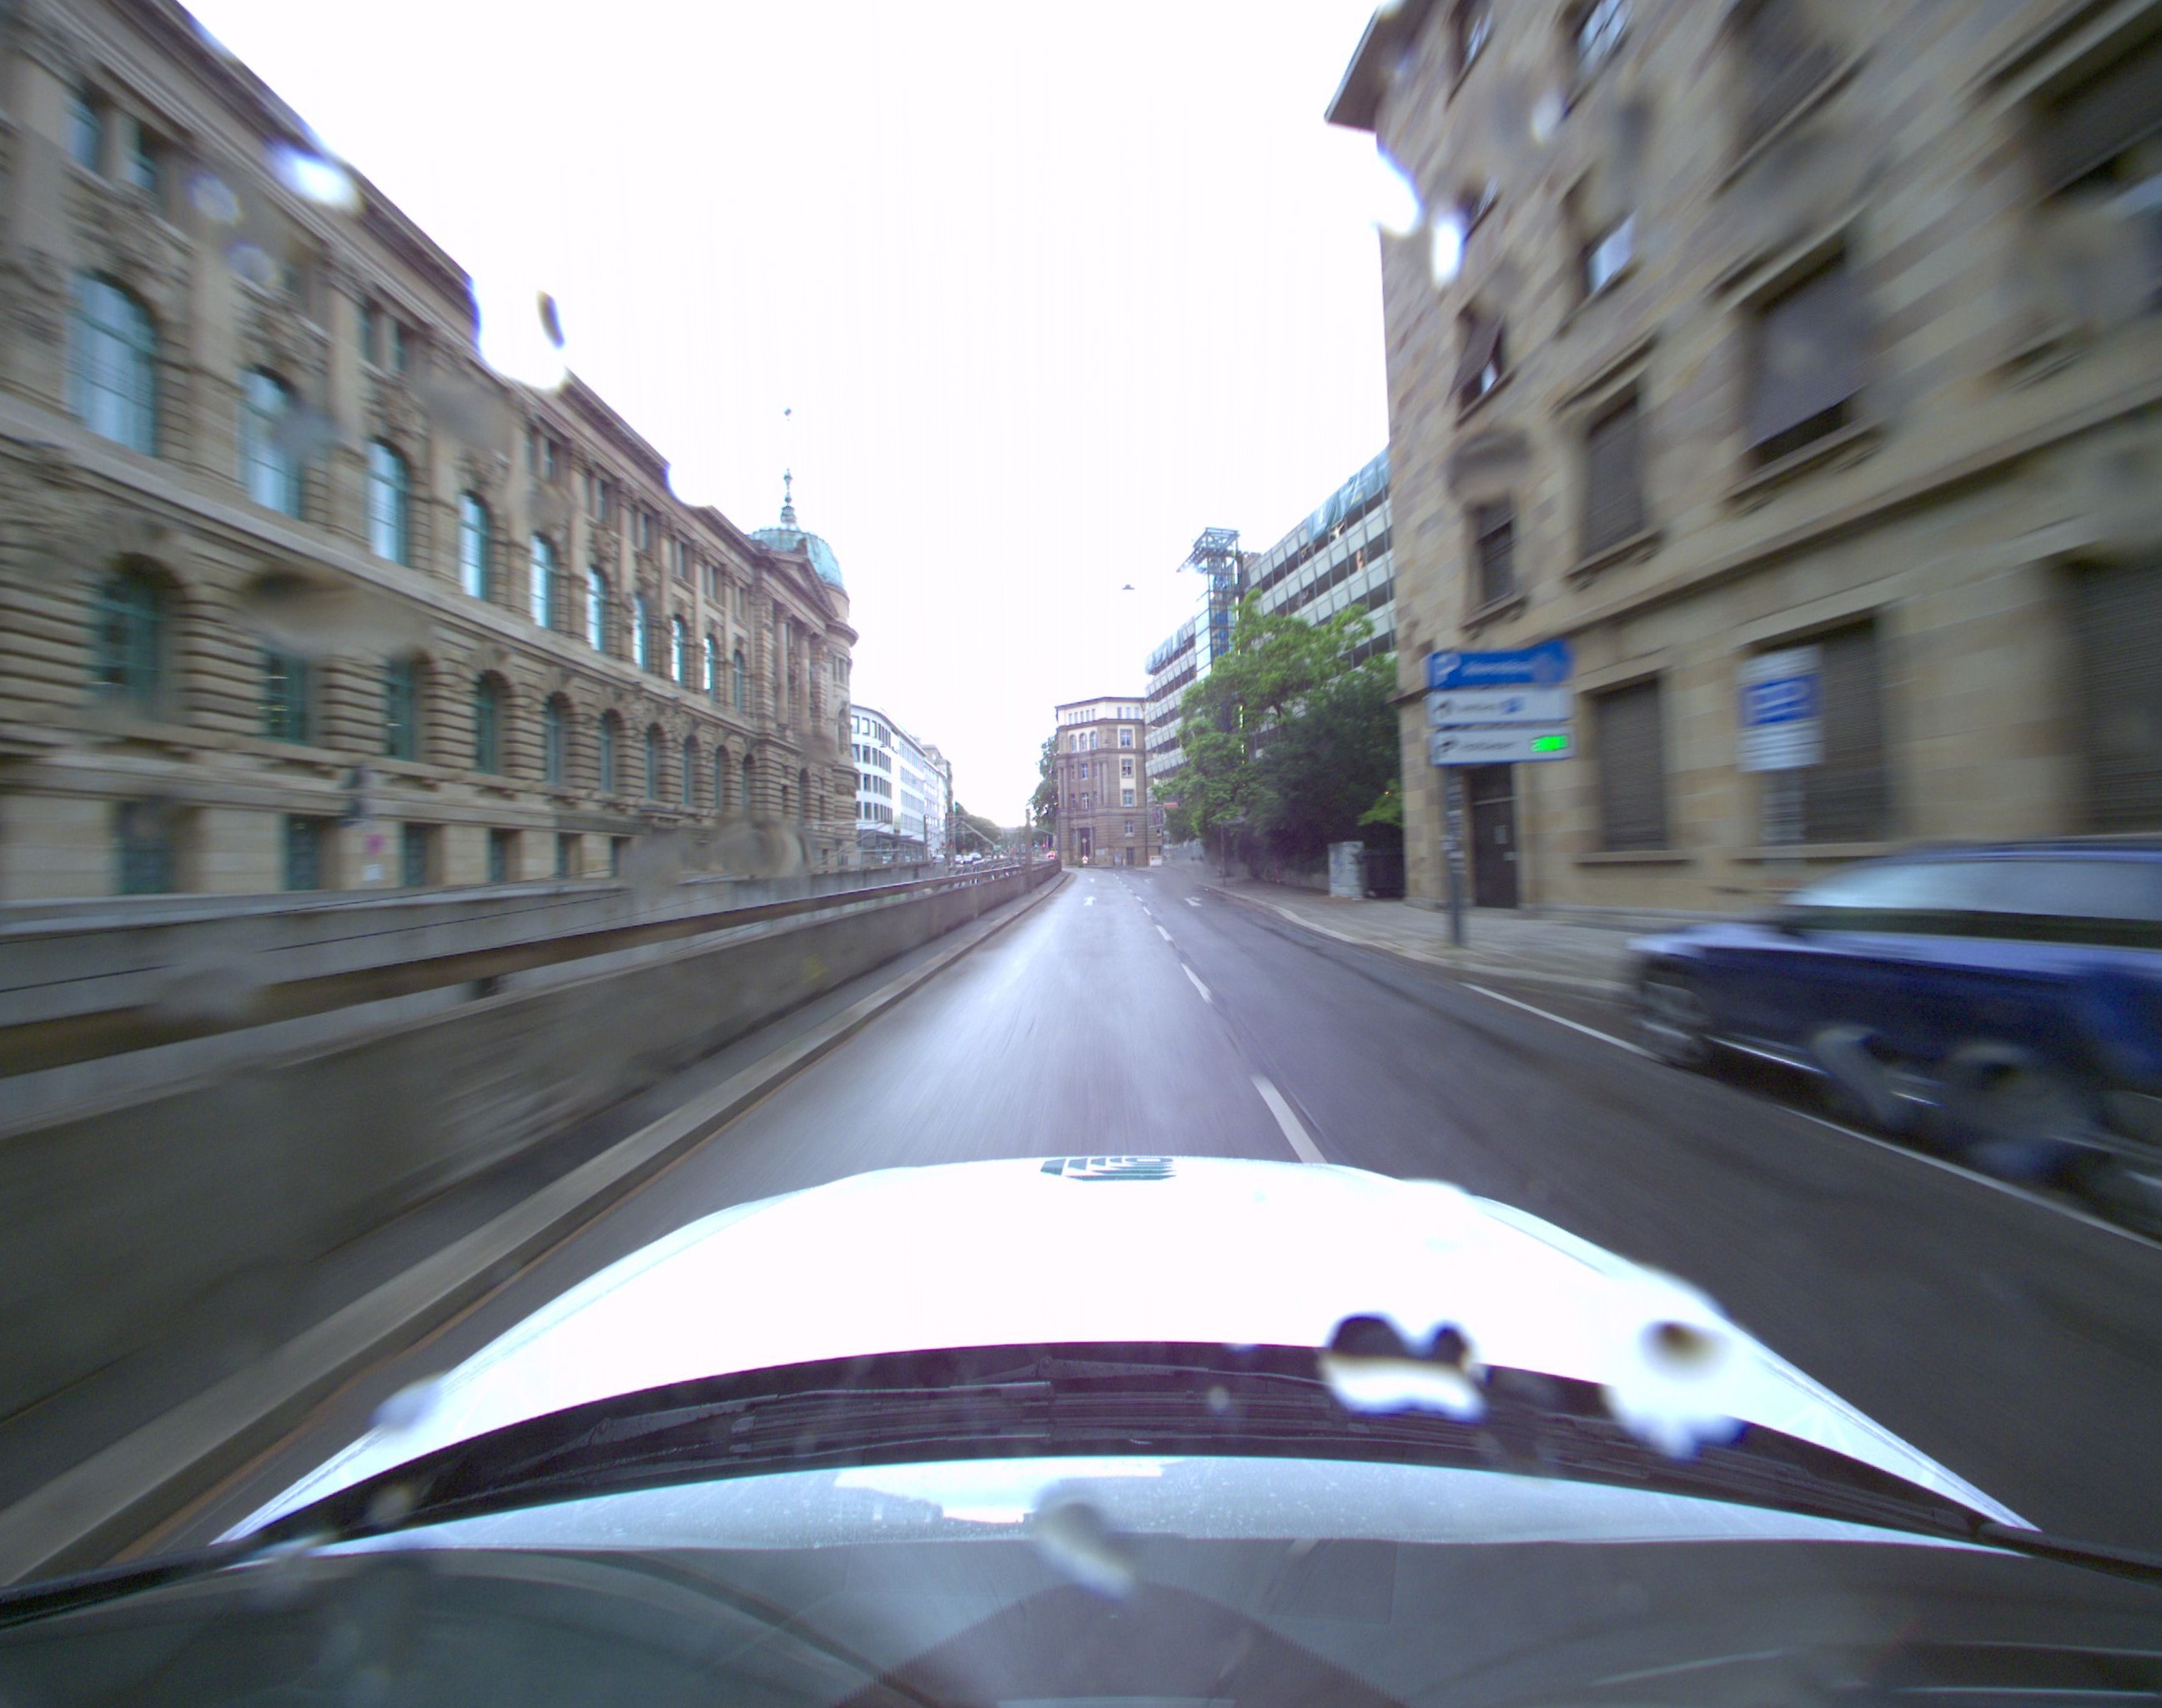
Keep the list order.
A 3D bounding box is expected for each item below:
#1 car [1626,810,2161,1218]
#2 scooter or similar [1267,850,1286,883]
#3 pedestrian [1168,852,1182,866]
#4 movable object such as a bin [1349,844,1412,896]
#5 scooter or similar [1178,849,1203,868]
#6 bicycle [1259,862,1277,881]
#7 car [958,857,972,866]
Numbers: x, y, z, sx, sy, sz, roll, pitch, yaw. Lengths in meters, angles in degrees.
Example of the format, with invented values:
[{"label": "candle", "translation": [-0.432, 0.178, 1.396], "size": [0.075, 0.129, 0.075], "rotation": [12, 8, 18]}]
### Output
[{"label": "car", "translation": [5.169, 0.644, 4.331], "size": [1.762, 1.619, 4.156], "rotation": [-1, -1, 0]}, {"label": "scooter or similar", "translation": [7.709, 0.480, 32.089], "size": [0.445, 1.259, 1.211], "rotation": [-2, 0, 1]}, {"label": "pedestrian", "translation": [8.000, 0.414, 69.306], "size": [0.753, 1.123, 1.241], "rotation": [0, 0, -13]}, {"label": "movable object such as a bin", "translation": [8.059, 0.414, 21.970], "size": [1.234, 1.310, 1.234], "rotation": [-3, -1, 2]}, {"label": "scooter or similar", "translation": [7.898, 0.323, 58.634], "size": [1.643, 1.267, 0.737], "rotation": [-2, 0, -24]}, {"label": "bicycle", "translation": [7.848, 0.725, 34.194], "size": [0.498, 0.754, 1.211], "rotation": [-2, 0, 1]}, {"label": "car", "translation": [-19.038, 1.255, 134.105], "size": [1.990, 1.527, 3.657], "rotation": [0, 0, -4]}]
